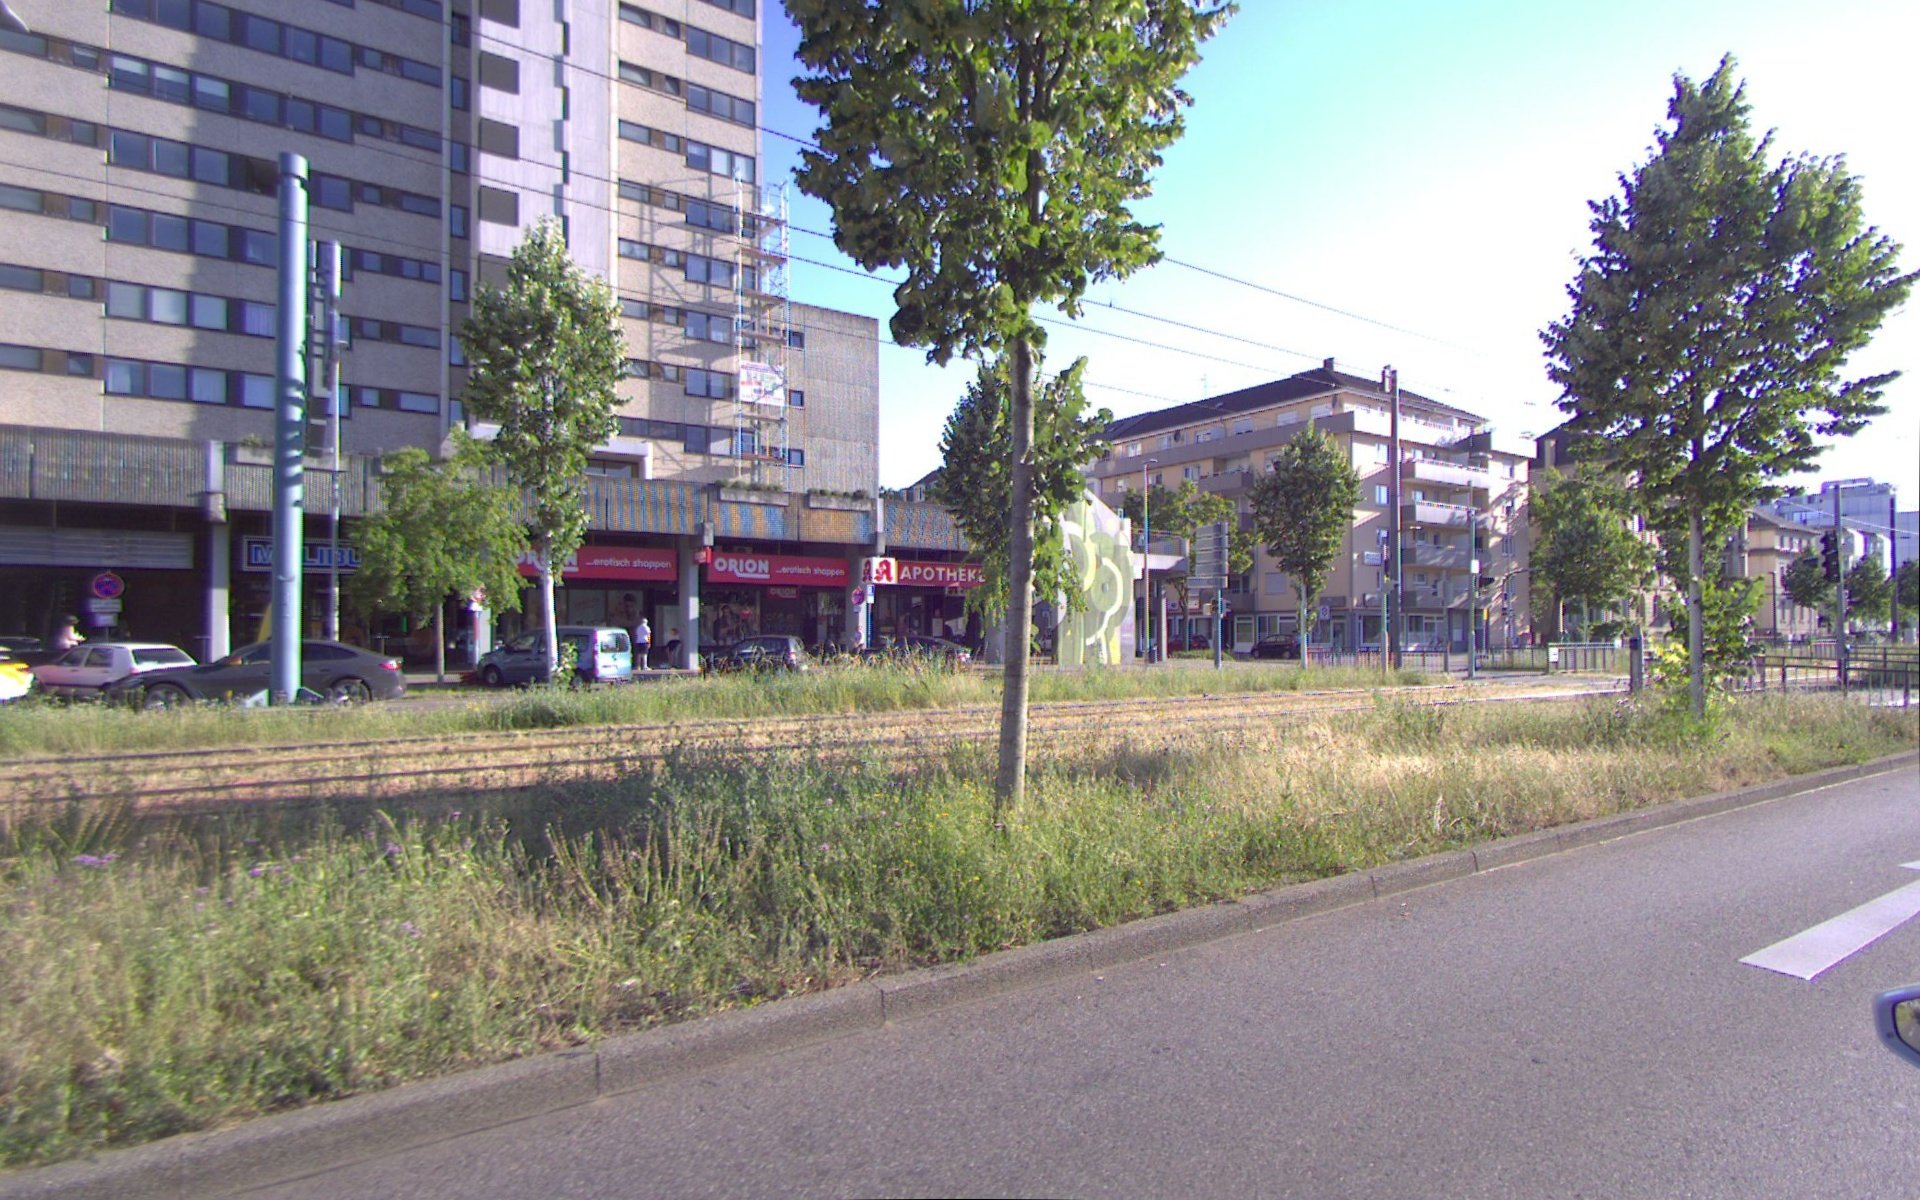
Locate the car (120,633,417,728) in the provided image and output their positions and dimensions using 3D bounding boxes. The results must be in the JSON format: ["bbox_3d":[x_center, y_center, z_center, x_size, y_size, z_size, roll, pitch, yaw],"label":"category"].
[{"bbox_3d":[-13.389,1.506,19.760,4.591,1.609,1.858,2,0,-34],"label":"car"}]

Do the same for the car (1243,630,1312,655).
[{"bbox_3d":[20.228,2.680,64.178,1.828,1.516,3.962,1,-2,-34],"label":"car"}]

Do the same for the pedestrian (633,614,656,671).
[{"bbox_3d":[-11.452,1.533,36.468,0.648,2.040,0.544,1,-2,-34],"label":"pedestrian"}]

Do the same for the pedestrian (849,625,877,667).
[{"bbox_3d":[-3.889,1.855,40.288,0.874,1.661,0.769,1,-2,-35],"label":"pedestrian"}]

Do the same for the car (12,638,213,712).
[{"bbox_3d":[-19.598,1.687,23.271,3.716,1.464,1.622,2,0,13],"label":"car"}]

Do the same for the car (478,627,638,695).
[{"bbox_3d":[-11.536,1.701,28.859,4.112,1.713,1.622,2,0,16],"label":"car"}]

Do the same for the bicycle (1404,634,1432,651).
[{"bbox_3d":[31.459,2.934,68.982,2.560,1.152,0.527,1,-2,-35],"label":"bicycle"}]

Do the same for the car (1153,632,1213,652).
[{"bbox_3d":[15.753,2.953,71.066,1.979,1.321,3.963,1,-2,-34],"label":"car"}]

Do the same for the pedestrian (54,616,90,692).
[{"bbox_3d":[-24.409,1.478,27.618,0.648,2.040,0.544,1,-2,-34],"label":"pedestrian"}]

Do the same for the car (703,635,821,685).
[{"bbox_3d":[-6.500,1.947,33.093,3.396,1.421,1.622,2,0,13],"label":"car"}]

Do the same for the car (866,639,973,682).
[{"bbox_3d":[-1.379,2.087,34.929,3.396,1.291,1.622,2,0,13],"label":"car"}]

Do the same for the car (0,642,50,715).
[{"bbox_3d":[-21.949,1.639,21.468,3.724,1.464,1.791,2,0,11],"label":"car"}]

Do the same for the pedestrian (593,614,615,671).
[{"bbox_3d":[-13.035,1.555,36.753,0.648,2.040,0.544,1,-2,-34],"label":"pedestrian"}]

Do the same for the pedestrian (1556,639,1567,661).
[{"bbox_3d":[43.187,3.562,72.087,0.444,1.576,0.515,1,-2,-35],"label":"pedestrian"}]
